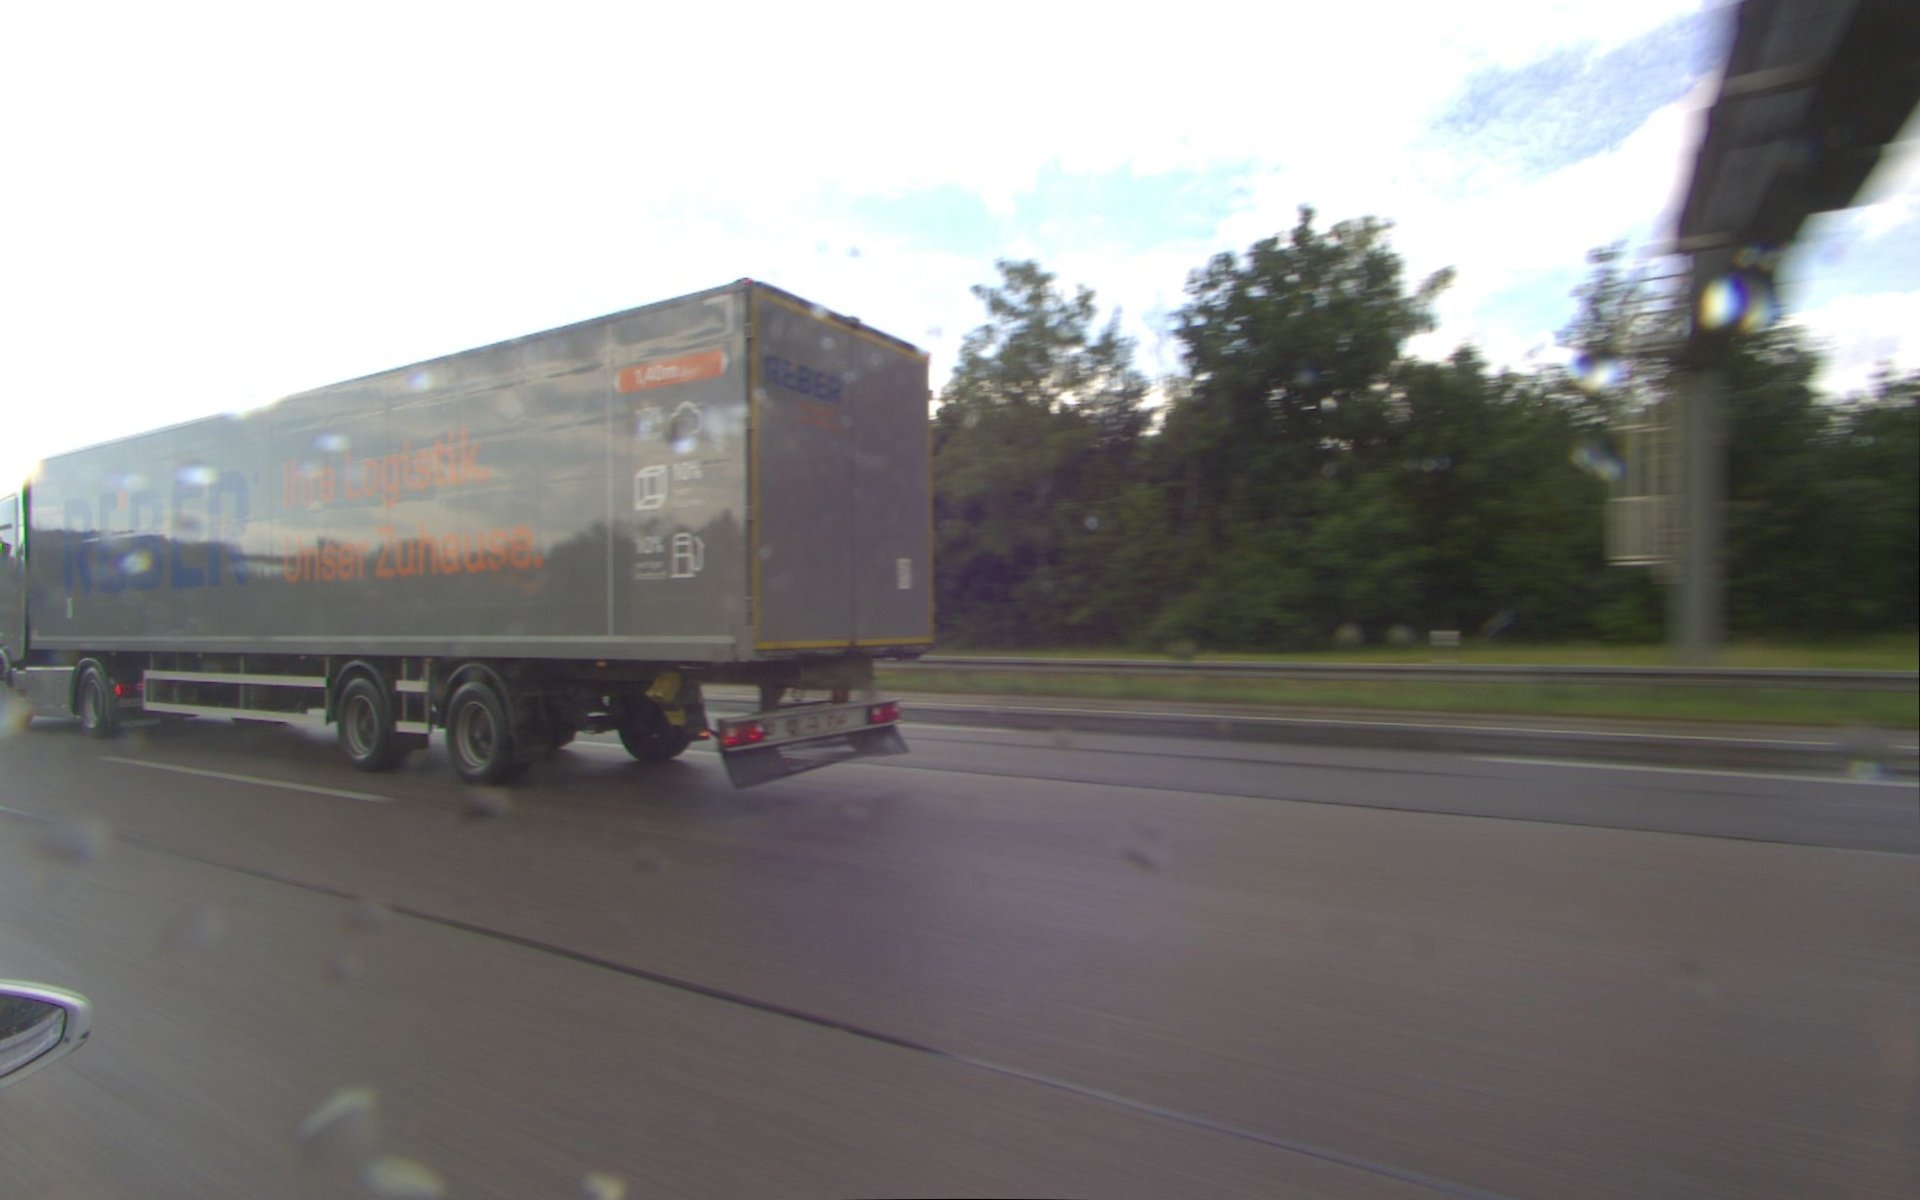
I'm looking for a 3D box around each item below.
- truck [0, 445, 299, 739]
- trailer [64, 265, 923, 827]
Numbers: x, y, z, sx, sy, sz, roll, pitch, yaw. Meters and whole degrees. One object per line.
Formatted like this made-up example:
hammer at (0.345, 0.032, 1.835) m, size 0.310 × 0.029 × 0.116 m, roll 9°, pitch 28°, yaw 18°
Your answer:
truck at (-12.918, -0.052, 15.731) m, size 5.315 × 3.918 × 2.289 m, roll -1°, pitch -1°, yaw 32°
trailer at (-6.543, -0.284, 11.722) m, size 13.218 × 4.053 × 2.319 m, roll -1°, pitch -1°, yaw 32°
